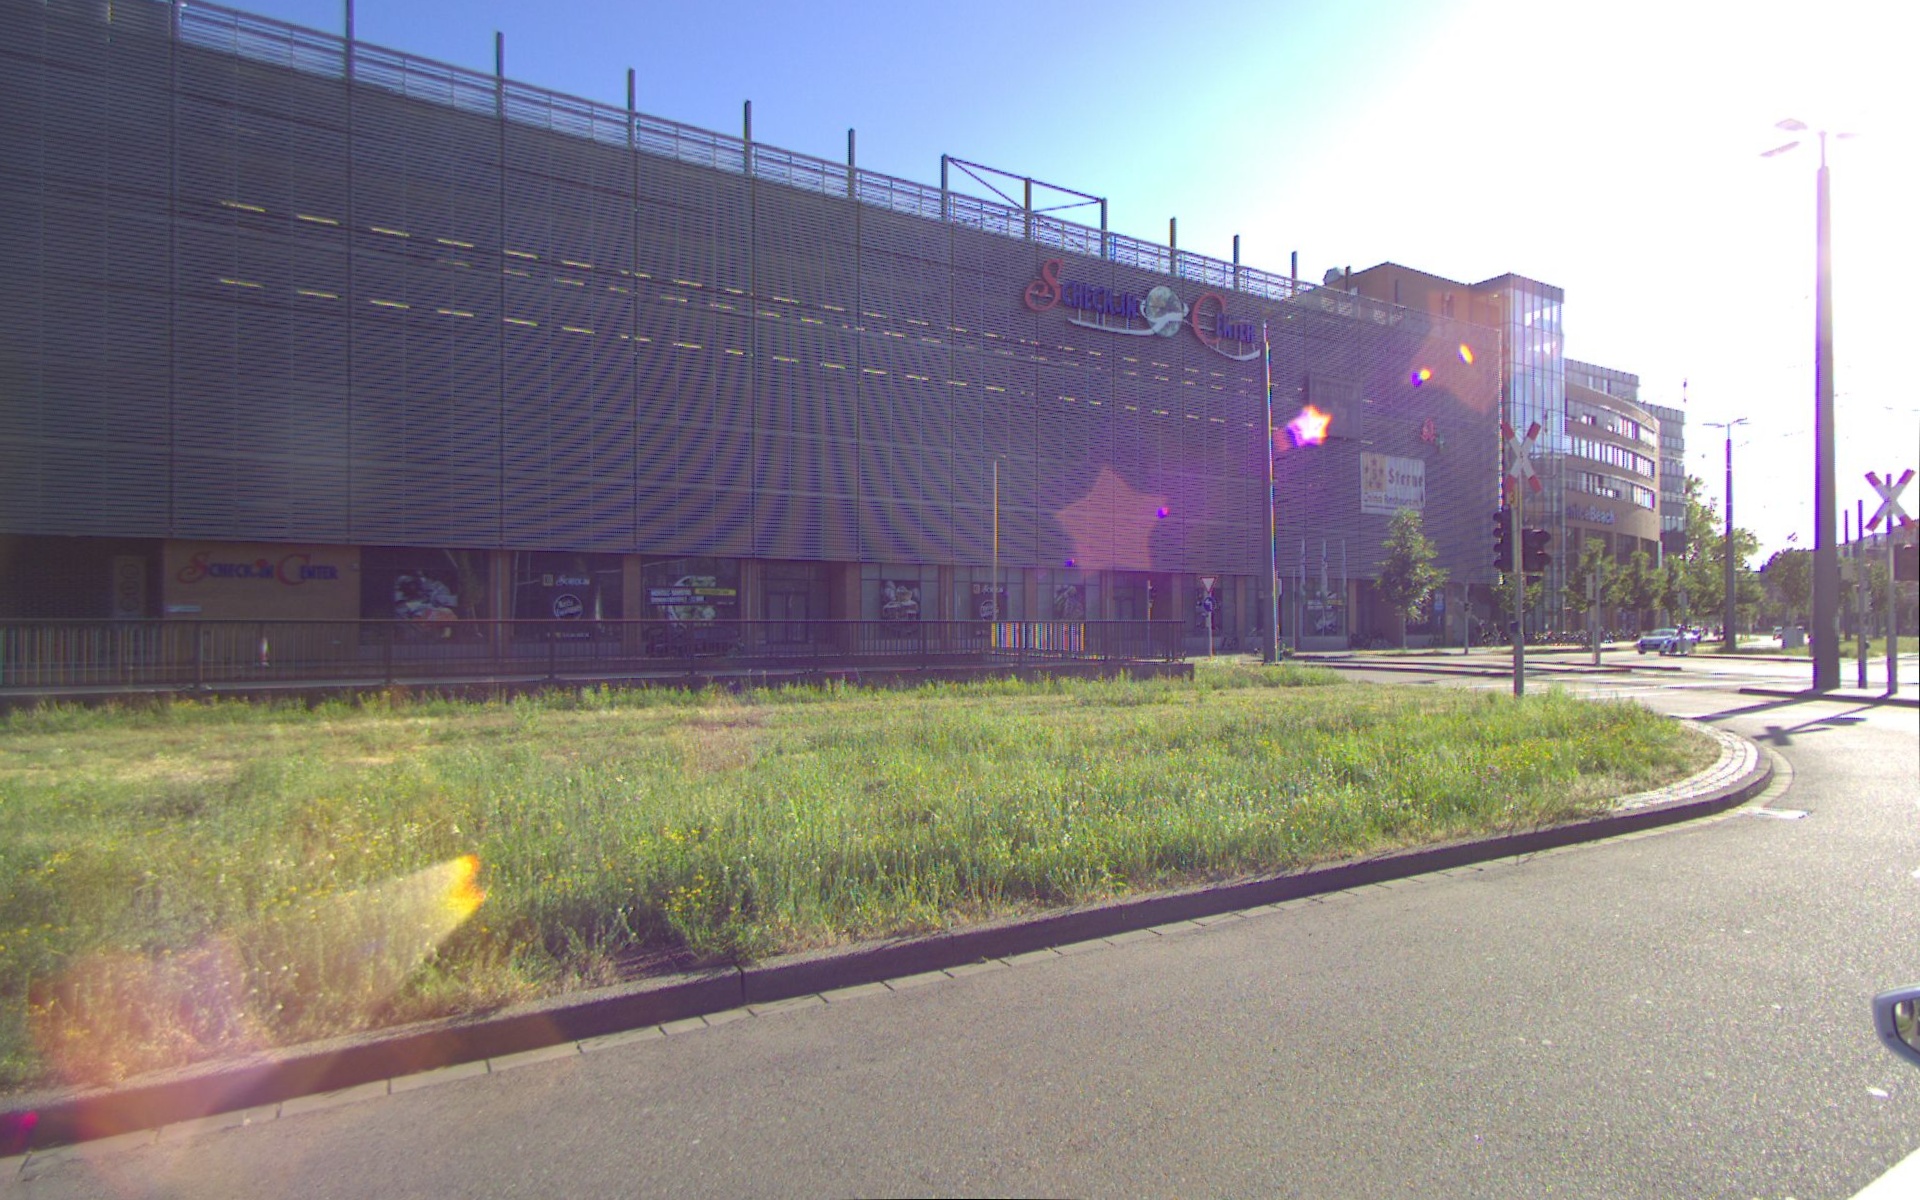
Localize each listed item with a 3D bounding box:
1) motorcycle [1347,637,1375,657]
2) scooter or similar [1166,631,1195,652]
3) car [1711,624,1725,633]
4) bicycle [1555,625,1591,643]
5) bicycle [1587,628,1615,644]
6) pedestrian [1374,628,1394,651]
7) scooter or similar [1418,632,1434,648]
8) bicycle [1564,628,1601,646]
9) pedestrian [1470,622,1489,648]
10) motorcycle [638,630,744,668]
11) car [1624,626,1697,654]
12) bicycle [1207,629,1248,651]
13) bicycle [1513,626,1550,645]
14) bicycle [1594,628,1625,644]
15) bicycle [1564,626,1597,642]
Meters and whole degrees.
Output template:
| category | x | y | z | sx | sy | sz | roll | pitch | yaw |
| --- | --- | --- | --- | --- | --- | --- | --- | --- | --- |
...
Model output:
| category | x | y | z | sx | sy | sz | roll | pitch | yaw |
| --- | --- | --- | --- | --- | --- | --- | --- | --- | --- |
| motorcycle | 25.975 | 3.063 | 65.081 | 1.872 | 1.255 | 0.672 | 2 | -2 | -31 |
| scooter or similar | 12.965 | 2.447 | 59.129 | 1.555 | 1.222 | 0.790 | 2 | -3 | -30 |
| car | 134.392 | 5.090 | 178.085 | 1.626 | 1.609 | 3.350 | 0 | -1 | 33 |
| bicycle | 50.305 | 2.799 | 82.482 | 0.891 | 1.452 | 2.558 | 1 | -2 | -21 |
| bicycle | 59.241 | 3.294 | 92.865 | 0.747 | 1.452 | 2.135 | 1 | -2 | -21 |
| pedestrian | 29.711 | 2.747 | 70.374 | 0.819 | 1.586 | 0.983 | 2 | -3 | -30 |
| scooter or similar | 32.894 | 2.849 | 70.851 | 1.138 | 1.124 | 0.419 | 2 | -3 | -30 |
| bicycle | 52.020 | 3.111 | 83.964 | 0.891 | 1.452 | 2.558 | 1 | -2 | -21 |
| pedestrian | 37.951 | 2.566 | 73.389 | 0.894 | 1.848 | 0.823 | 2 | -3 | -29 |
| motorcycle | -11.207 | 1.991 | 41.871 | 3.953 | 1.472 | 1.984 | 0 | -1 | -30 |
| car | 40.247 | 2.263 | 57.724 | 4.483 | 1.566 | 1.981 | 1 | -1 | -34 |
| bicycle | 15.604 | 2.328 | 58.546 | 2.384 | 1.237 | 0.797 | 1 | -1 | -27 |
| bicycle | 45.365 | 2.849 | 79.774 | 1.060 | 1.452 | 2.366 | 1 | -2 | -21 |
| bicycle | 60.302 | 3.355 | 93.343 | 0.777 | 1.452 | 2.417 | 1 | -2 | -21 |
| bicycle | 55.775 | 3.079 | 90.328 | 0.760 | 1.452 | 2.603 | 1 | -2 | -21 |
